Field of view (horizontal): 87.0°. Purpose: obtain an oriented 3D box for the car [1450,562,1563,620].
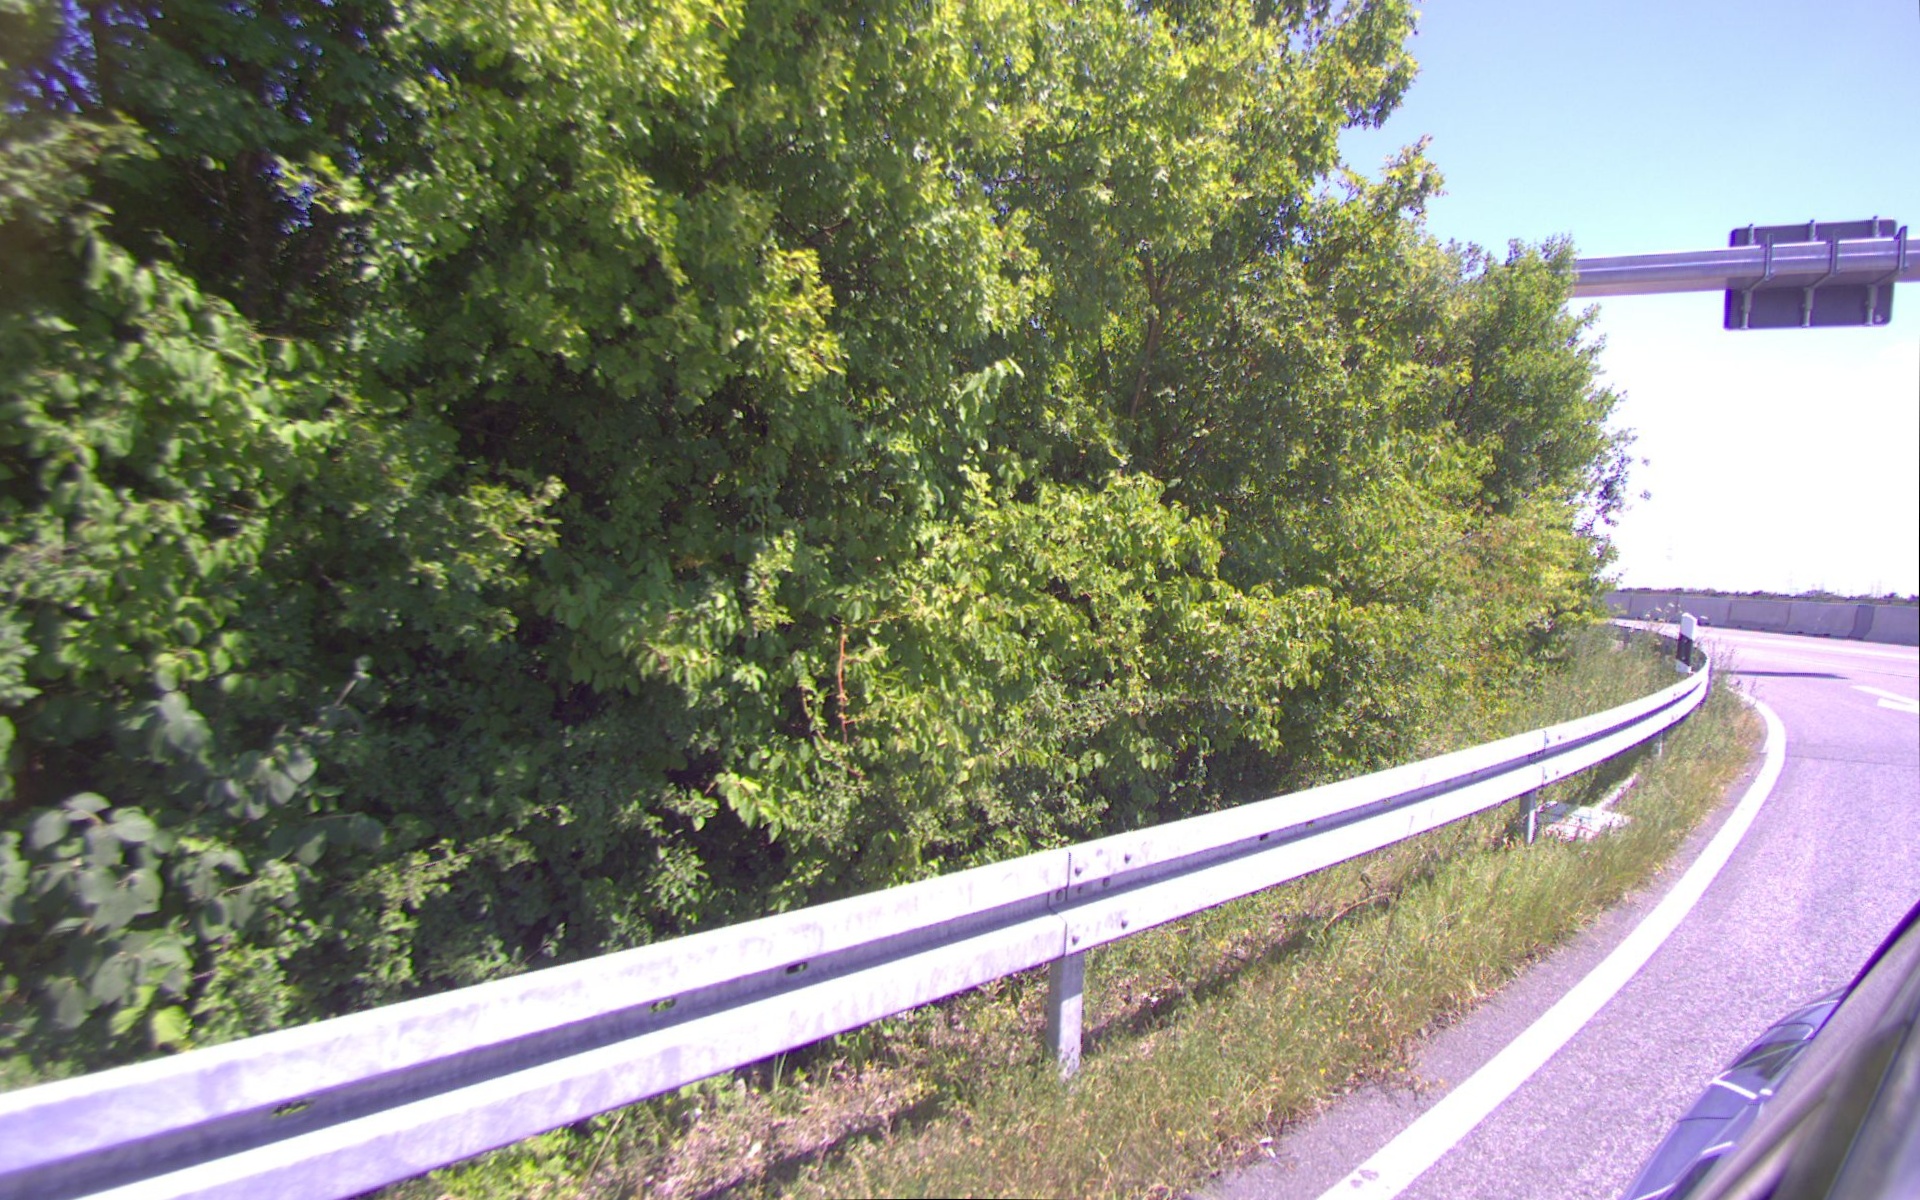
[{"bbox_3d":[21.387,-0.440,39.954,1.998,2.110,5.860,1,2,9],"label":"car"}]
